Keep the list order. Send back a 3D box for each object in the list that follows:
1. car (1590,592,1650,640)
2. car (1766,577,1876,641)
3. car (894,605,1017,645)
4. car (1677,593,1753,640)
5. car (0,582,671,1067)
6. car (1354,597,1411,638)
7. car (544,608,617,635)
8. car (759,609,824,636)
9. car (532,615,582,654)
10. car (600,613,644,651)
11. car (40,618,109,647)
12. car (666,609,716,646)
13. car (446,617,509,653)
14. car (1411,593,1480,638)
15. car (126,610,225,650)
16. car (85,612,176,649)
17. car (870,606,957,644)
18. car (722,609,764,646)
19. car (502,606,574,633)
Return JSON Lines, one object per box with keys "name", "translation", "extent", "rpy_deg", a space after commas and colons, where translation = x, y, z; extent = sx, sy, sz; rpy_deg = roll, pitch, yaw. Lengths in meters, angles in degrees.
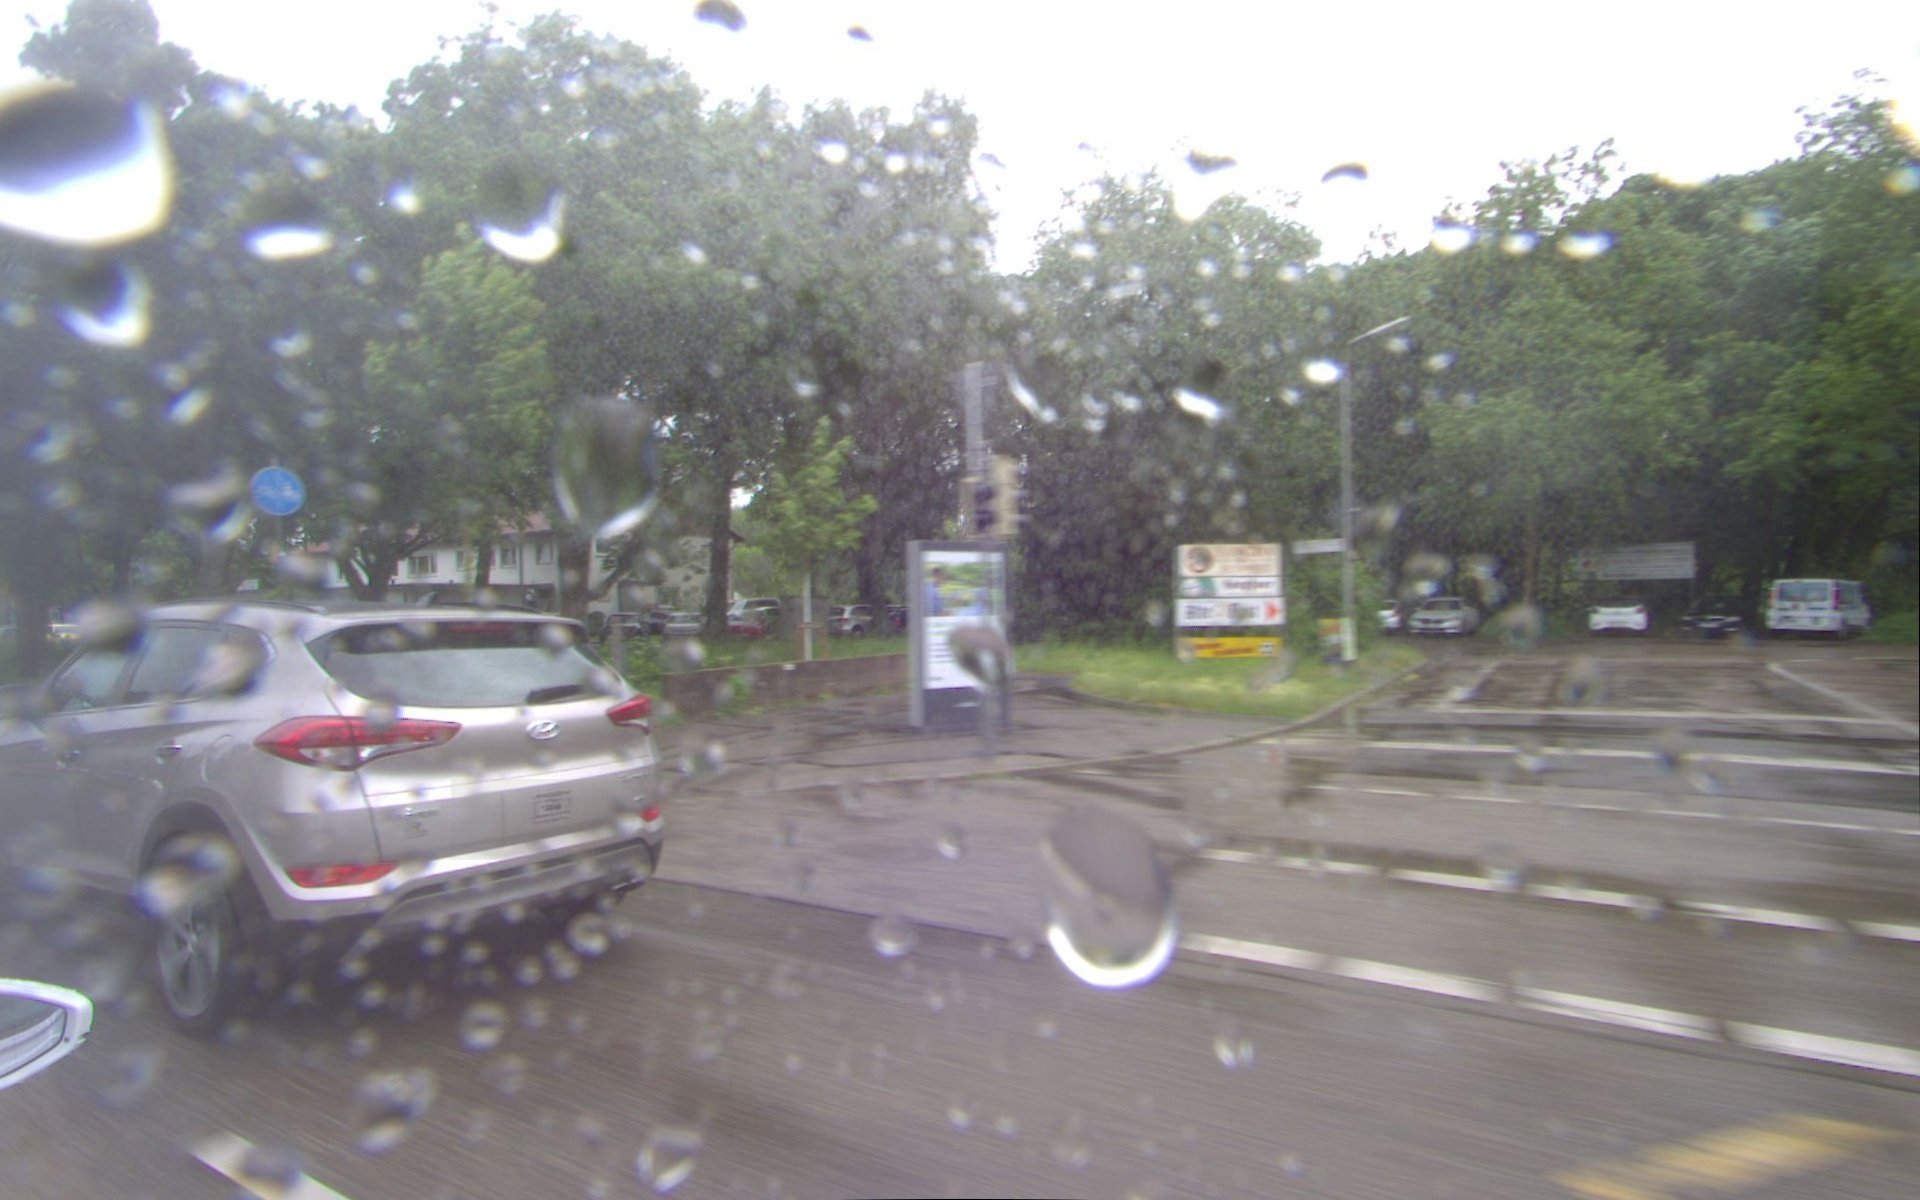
{"name": "car", "translation": [23.941, 0.617, 36.275], "extent": [1.697, 1.617, 3.648], "rpy_deg": [-1, -2, 35]}
{"name": "car", "translation": [28.650, 0.343, 33.298], "extent": [4.144, 1.989, 1.912], "rpy_deg": [1, -2, -37]}
{"name": "car", "translation": [-0.073, 1.015, 38.983], "extent": [2.138, 1.467, 5.387], "rpy_deg": [-2, -3, 34]}
{"name": "car", "translation": [26.028, 0.619, 34.642], "extent": [1.900, 1.507, 4.171], "rpy_deg": [-1, -2, 35]}
{"name": "car", "translation": [-3.680, 0.824, 5.286], "extent": [4.136, 1.631, 1.881], "rpy_deg": [-2, -1, 32]}
{"name": "car", "translation": [17.442, 0.767, 41.228], "extent": [1.895, 1.603, 4.587], "rpy_deg": [-1, -2, 26]}
{"name": "car", "translation": [-20.391, 1.186, 53.788], "extent": [3.941, 1.403, 1.582], "rpy_deg": [-1, -2, 30]}
{"name": "car", "translation": [-9.703, 1.327, 57.883], "extent": [1.709, 1.474, 3.986], "rpy_deg": [-1, -2, 28]}
{"name": "car", "translation": [-16.045, 1.398, 39.970], "extent": [1.641, 1.467, 3.746], "rpy_deg": [0, -2, -19]}
{"name": "car", "translation": [-13.855, 1.336, 41.051], "extent": [1.641, 1.467, 3.746], "rpy_deg": [0, -2, -19]}
{"name": "car", "translation": [-47.628, 1.741, 53.839], "extent": [4.013, 1.505, 1.635], "rpy_deg": [-1, -2, 30]}
{"name": "car", "translation": [-11.143, 1.162, 41.666], "extent": [1.638, 1.467, 3.751], "rpy_deg": [0, -2, -10]}
{"name": "car", "translation": [-18.843, 1.378, 39.218], "extent": [1.497, 1.369, 3.386], "rpy_deg": [0, -2, -13]}
{"name": "car", "translation": [18.879, 0.661, 38.852], "extent": [1.899, 1.651, 4.579], "rpy_deg": [-1, -2, 32]}
{"name": "car", "translation": [-36.557, 1.390, 46.652], "extent": [4.807, 1.740, 1.990], "rpy_deg": [-1, 0, 30]}
{"name": "car", "translation": [-41.187, 1.520, 49.702], "extent": [4.573, 1.740, 1.990], "rpy_deg": [-1, 0, 30]}
{"name": "car", "translation": [-1.831, 1.036, 40.329], "extent": [1.647, 1.467, 3.702], "rpy_deg": [-1, -2, 33]}
{"name": "car", "translation": [-9.067, 1.167, 41.978], "extent": [1.573, 1.467, 3.751], "rpy_deg": [0, -2, -10]}
{"name": "car", "translation": [-22.000, 1.051, 52.147], "extent": [3.646, 1.332, 1.570], "rpy_deg": [-1, -2, 30]}
